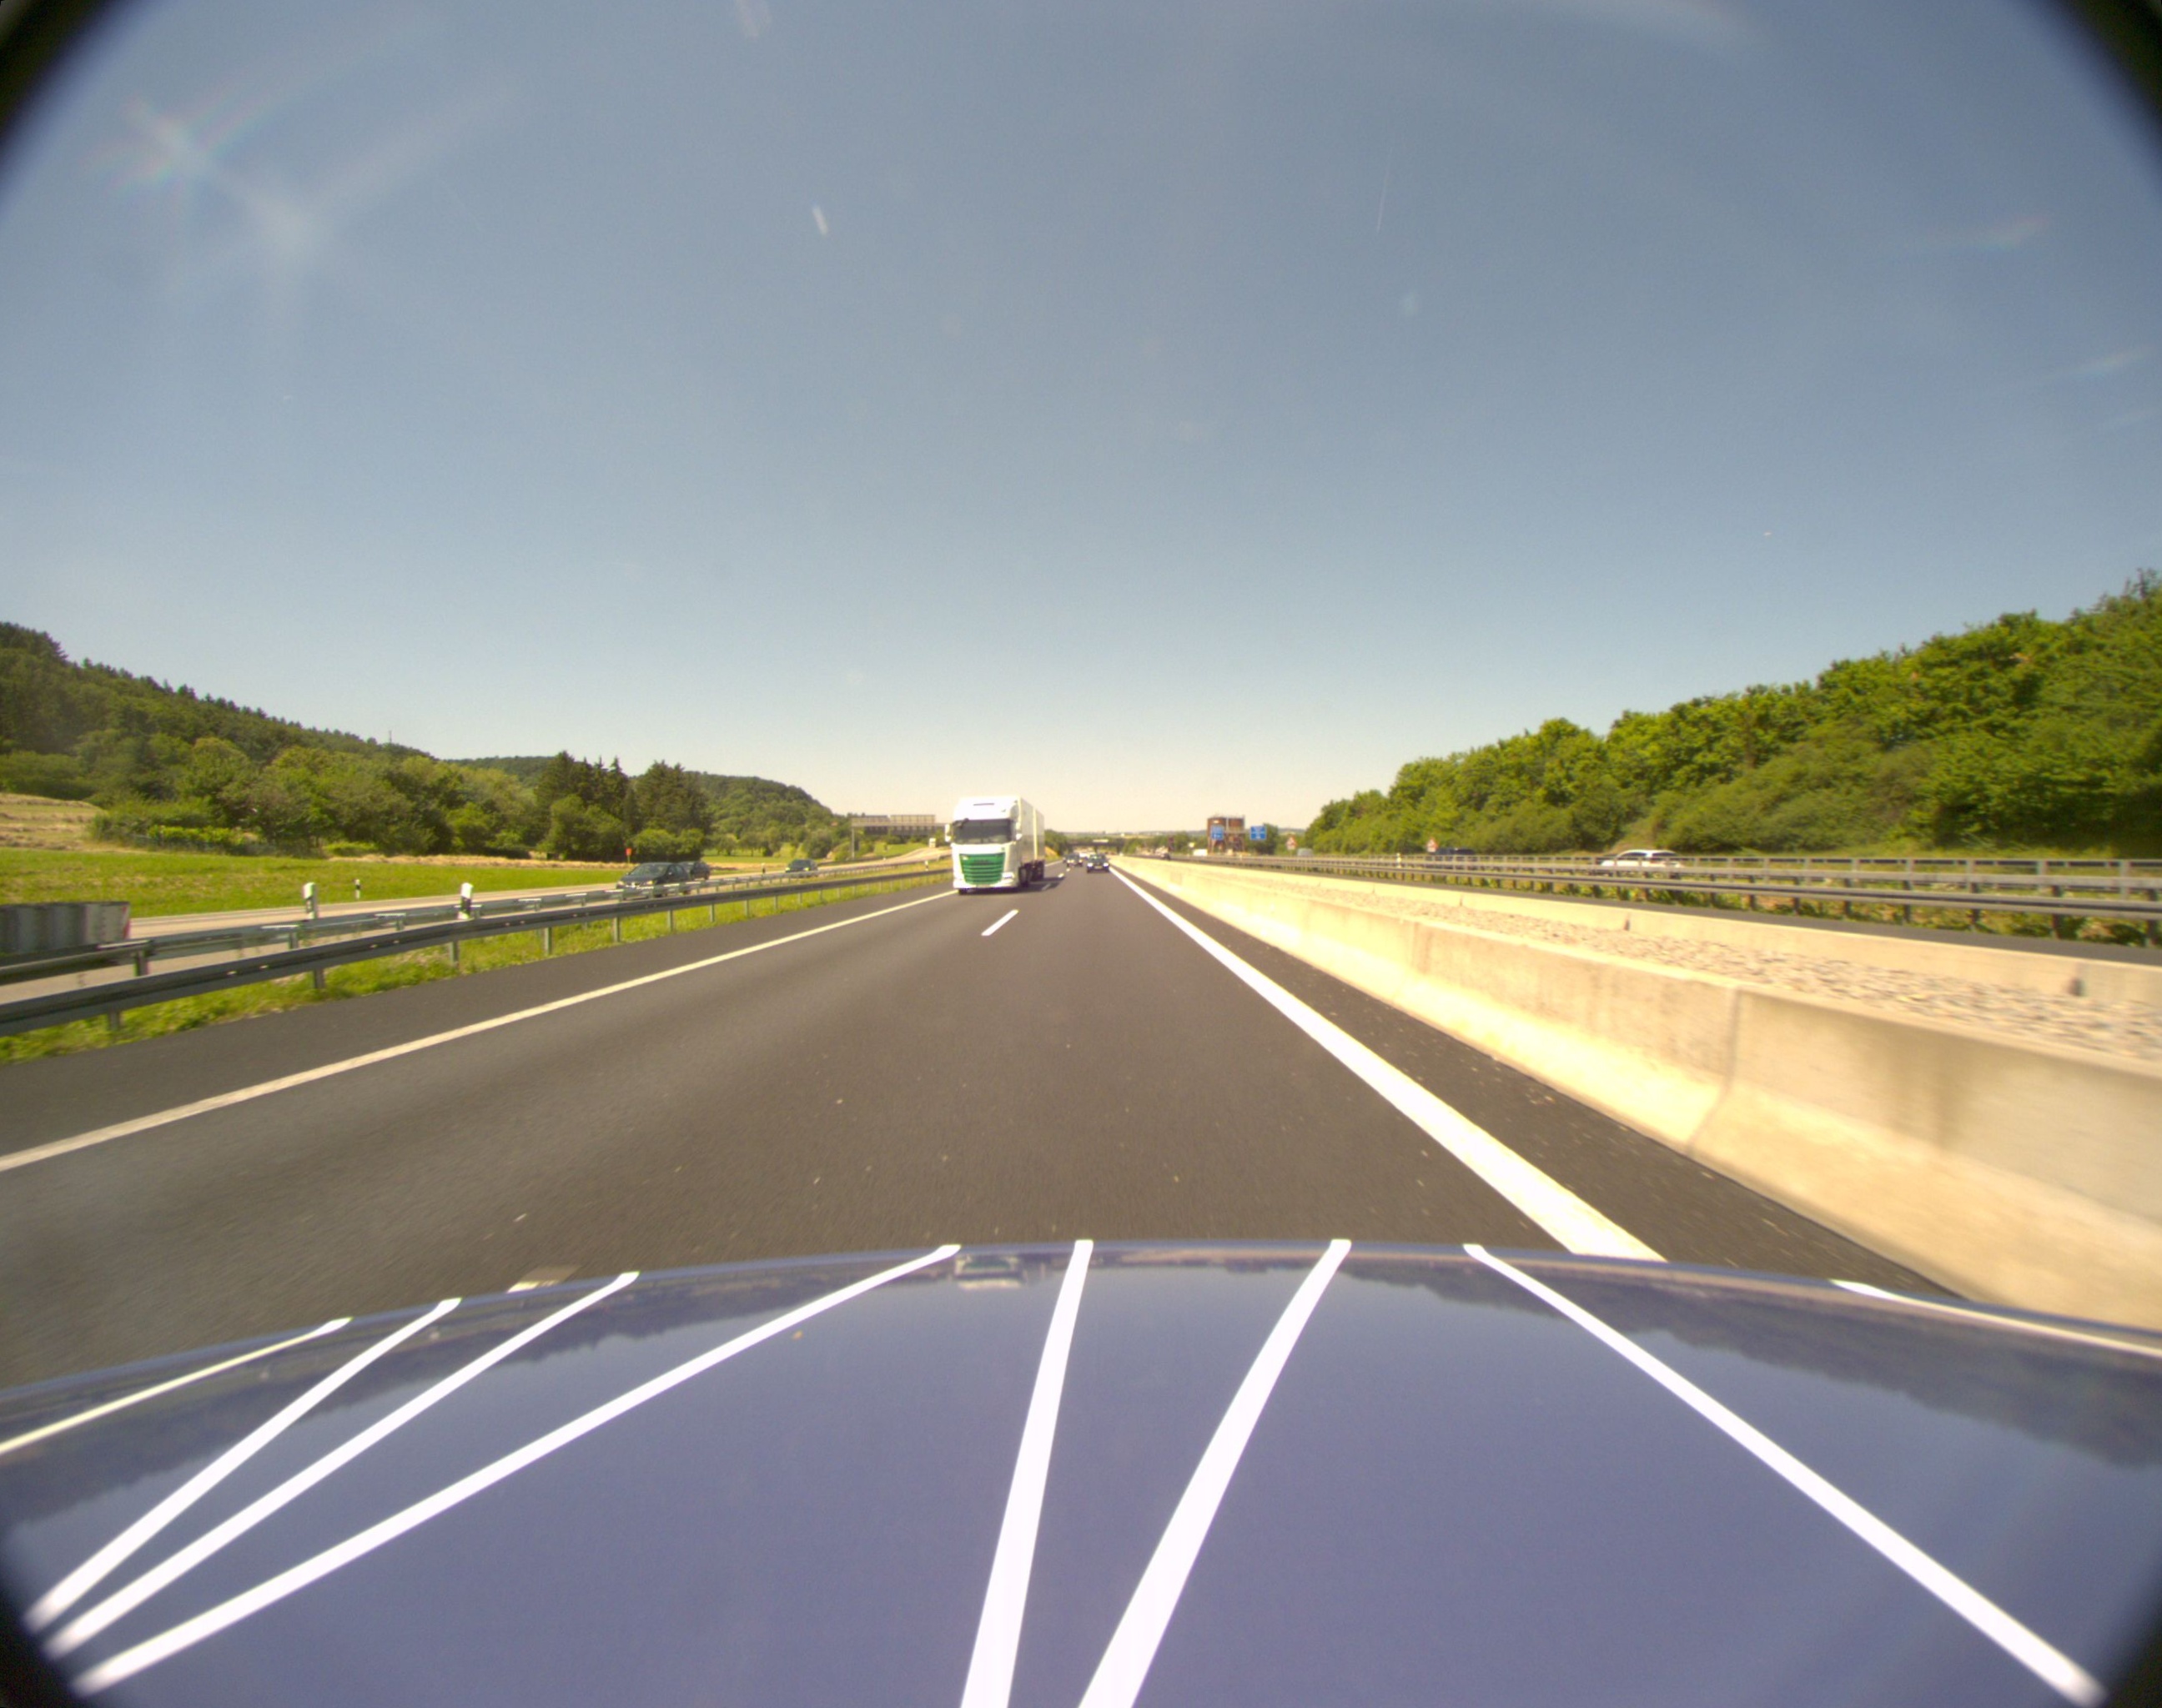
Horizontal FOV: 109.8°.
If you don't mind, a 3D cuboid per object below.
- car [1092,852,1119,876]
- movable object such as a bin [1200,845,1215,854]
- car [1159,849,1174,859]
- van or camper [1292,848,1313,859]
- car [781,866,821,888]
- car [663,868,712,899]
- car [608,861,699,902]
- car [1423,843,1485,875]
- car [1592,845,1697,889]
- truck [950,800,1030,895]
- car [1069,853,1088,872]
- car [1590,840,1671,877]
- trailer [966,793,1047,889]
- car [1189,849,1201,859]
[{"bbox_3d":[1.787,0.729,55.690,1.799,1.574,3.999,-2,1,0],"label":"car"},{"bbox_3d":[32.313,-1.136,194.601,2.513,2.002,6.778,-2,1,0],"label":"movable object such as a bin"},{"bbox_3d":[14.066,0.026,125.429,1.838,1.525,4.158,-3,1,-1],"label":"car"},{"bbox_3d":[35.815,-0.126,122.974,1.998,1.788,5.528,-1,0,2],"label":"van or camper"},{"bbox_3d":[-21.445,1.726,58.312,1.892,1.464,3.864,-2,1,-6],"label":"car"},{"bbox_3d":[-28.448,2.076,55.070,2.000,2.002,3.996,-3,1,-11],"label":"car"},{"bbox_3d":[-17.042,1.066,30.488,1.782,1.392,3.758,-2,1,-6],"label":"car"},{"bbox_3d":[24.914,0.290,50.985,1.951,2.002,4.764,-2,1,3],"label":"car"},{"bbox_3d":[28.555,0.613,38.752,1.951,2.002,4.764,-2,1,3],"label":"car"},{"bbox_3d":[-3.654,-0.267,31.639,2.649,3.572,4.403,-2,1,0],"label":"truck"},{"bbox_3d":[-0.280,0.944,85.622,1.998,2.002,3.999,-2,1,1],"label":"car"},{"bbox_3d":[32.193,0.198,44.637,1.951,2.002,4.021,-2,1,3],"label":"car"},{"bbox_3d":[-3.653,-0.629,41.305,2.663,4.164,14.893,-2,1,0],"label":"trailer"},{"bbox_3d":[26.079,-0.029,173.439,1.998,2.002,5.348,-2,1,1],"label":"car"}]
